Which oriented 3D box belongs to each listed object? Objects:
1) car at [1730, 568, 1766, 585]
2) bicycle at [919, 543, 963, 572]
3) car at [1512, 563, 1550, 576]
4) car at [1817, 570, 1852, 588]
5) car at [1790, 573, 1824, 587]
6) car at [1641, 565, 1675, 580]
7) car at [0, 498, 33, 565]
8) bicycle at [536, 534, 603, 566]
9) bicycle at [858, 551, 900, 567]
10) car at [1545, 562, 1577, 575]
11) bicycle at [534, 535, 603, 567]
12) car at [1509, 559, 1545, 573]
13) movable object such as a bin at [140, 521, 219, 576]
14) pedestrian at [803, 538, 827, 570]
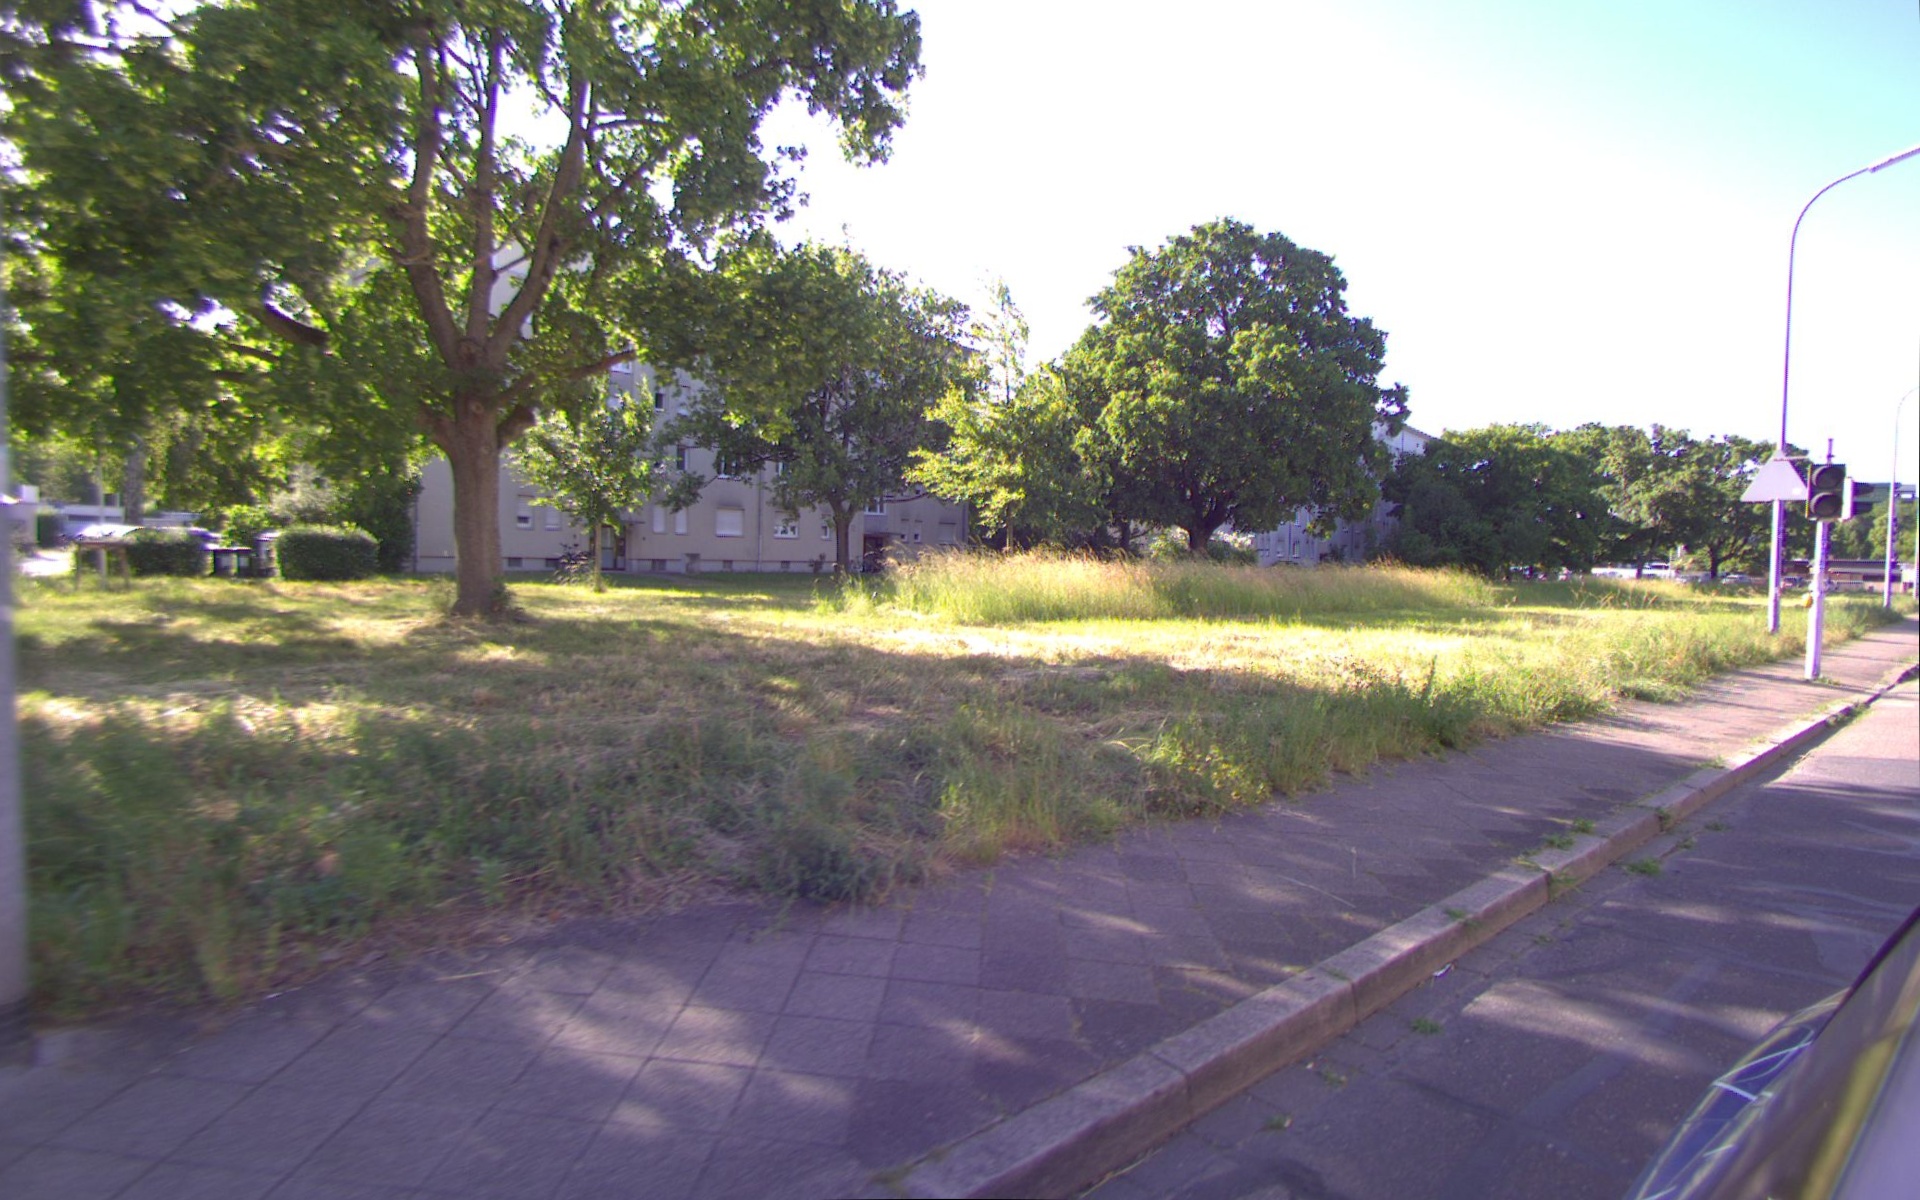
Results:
[{"bbox_3d":[90.067,-2.712,115.639,3.920,1.795,1.864,0,3,-31],"label":"car"},{"bbox_3d":[-1.038,-2.366,56.276,0.779,1.543,2.716,4,4,40],"label":"bicycle"},{"bbox_3d":[72.337,-3.812,128.220,1.959,1.468,3.647,0,3,-27],"label":"car"},{"bbox_3d":[94.493,-2.255,109.308,3.926,1.882,1.957,0,4,-37],"label":"car"},{"bbox_3d":[93.102,-2.188,111.262,3.923,1.340,1.783,0,4,-34],"label":"car"},{"bbox_3d":[86.089,-3.398,124.806,3.921,1.794,1.960,-2,4,-31],"label":"car"},{"bbox_3d":[-30.616,-2.132,31.075,2.122,2.036,4.527,0,3,-28],"label":"car"},{"bbox_3d":[-15.799,-2.014,41.008,0.930,1.219,2.677,3,3,23],"label":"bicycle"},{"bbox_3d":[-4.240,-2.159,53.025,2.266,0.822,0.693,-2,4,-44],"label":"bicycle"},{"bbox_3d":[80.436,-4.168,135.504,3.920,1.580,1.960,0,3,-31],"label":"car"},{"bbox_3d":[-15.368,-1.924,39.796,0.930,1.219,2.677,3,3,23],"label":"bicycle"},{"bbox_3d":[78.478,-4.681,140.066,4.607,1.766,1.961,0,3,-27],"label":"car"},{"bbox_3d":[-22.619,-1.496,29.355,1.384,1.527,1.516,4,4,37],"label":"movable object such as a bin"},{"bbox_3d":[-6.679,-2.122,46.728,0.752,1.474,0.758,3,3,35],"label":"pedestrian"}]
